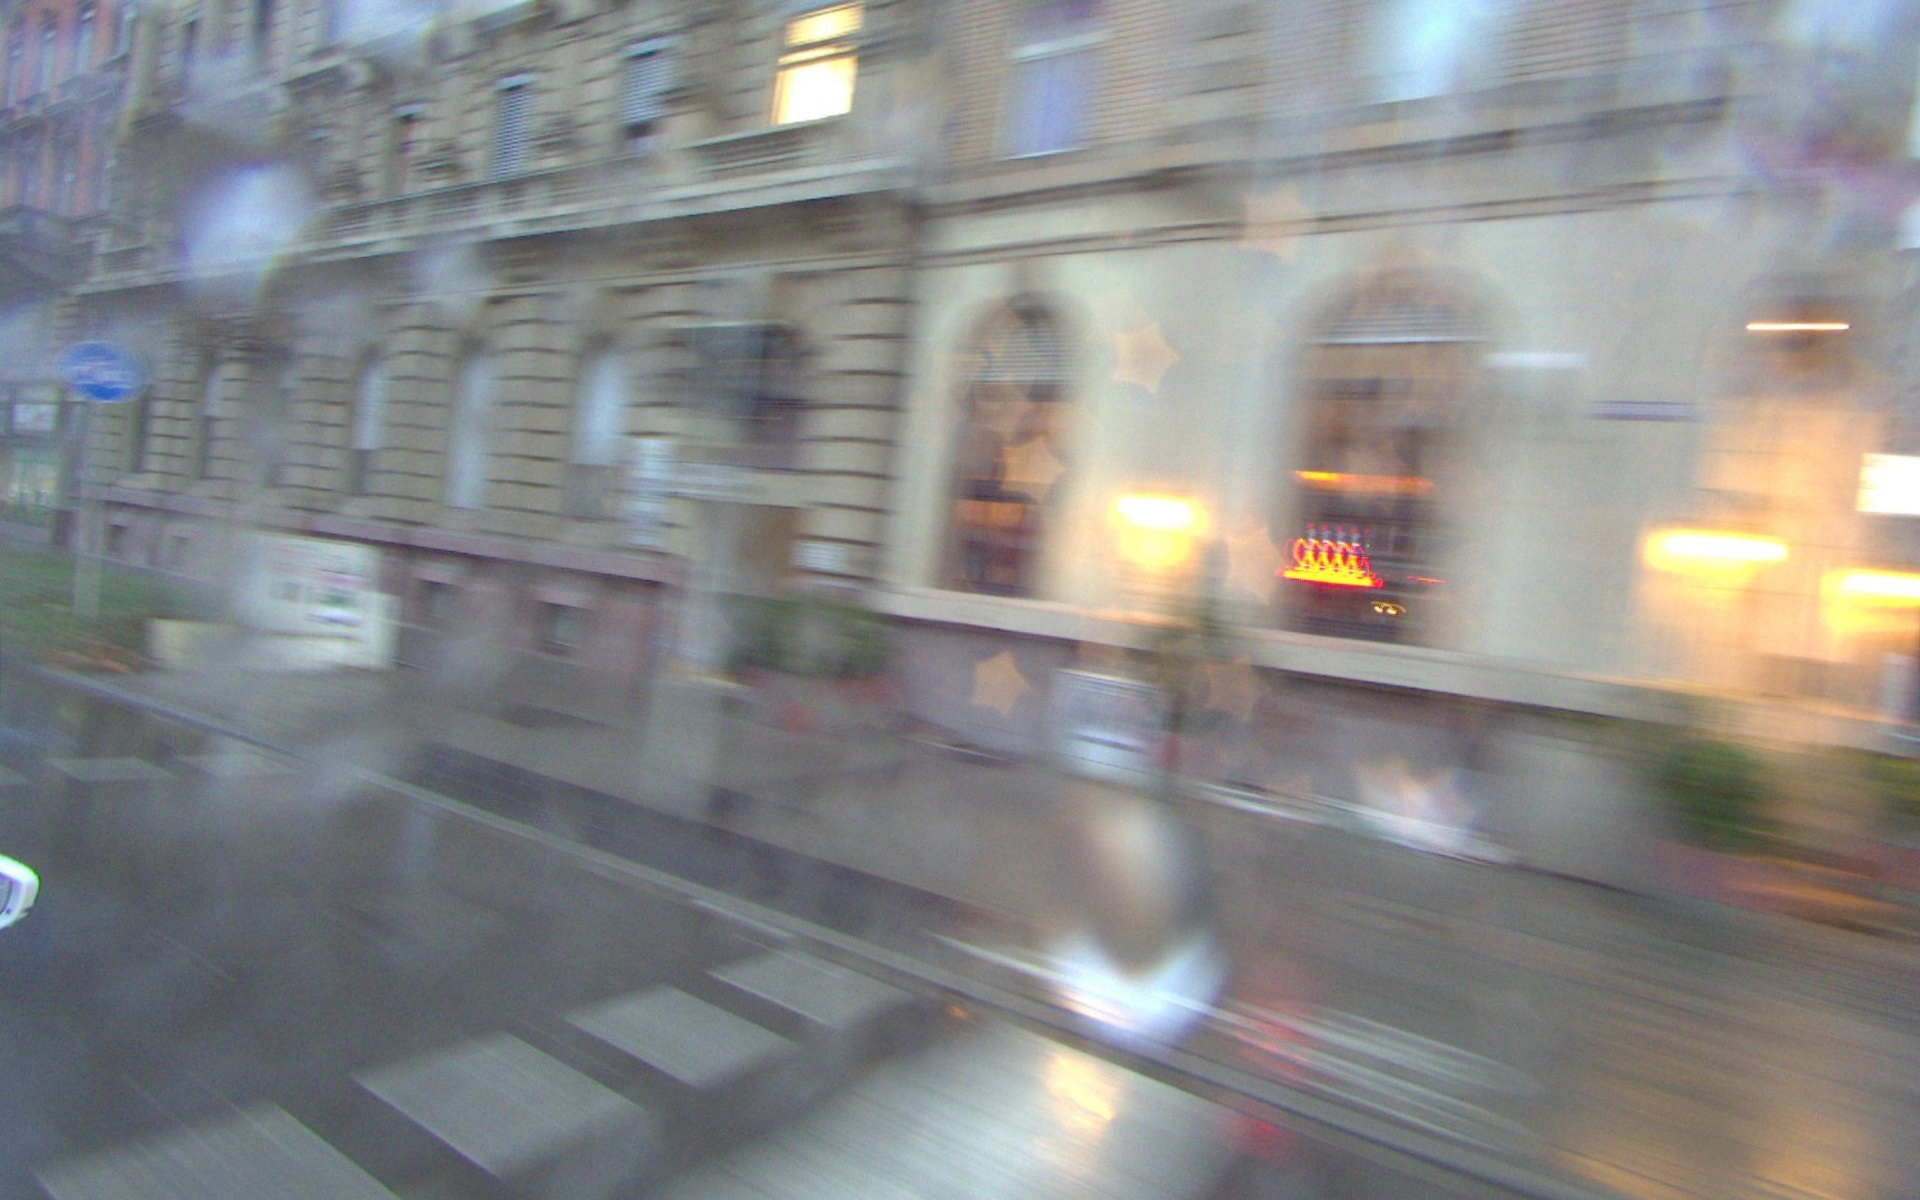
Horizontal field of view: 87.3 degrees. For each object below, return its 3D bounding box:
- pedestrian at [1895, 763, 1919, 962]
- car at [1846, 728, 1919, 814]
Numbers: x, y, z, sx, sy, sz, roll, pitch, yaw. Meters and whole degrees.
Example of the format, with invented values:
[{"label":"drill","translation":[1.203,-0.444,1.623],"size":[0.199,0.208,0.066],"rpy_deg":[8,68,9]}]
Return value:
[{"label":"pedestrian","translation":[7.099,1.507,6.589],"size":[0.901,2.038,0.856],"rpy_deg":[7,0,2]},{"label":"car","translation":[22.028,3.956,22.625],"size":[1.769,1.640,4.112],"rpy_deg":[7,0,23]}]
